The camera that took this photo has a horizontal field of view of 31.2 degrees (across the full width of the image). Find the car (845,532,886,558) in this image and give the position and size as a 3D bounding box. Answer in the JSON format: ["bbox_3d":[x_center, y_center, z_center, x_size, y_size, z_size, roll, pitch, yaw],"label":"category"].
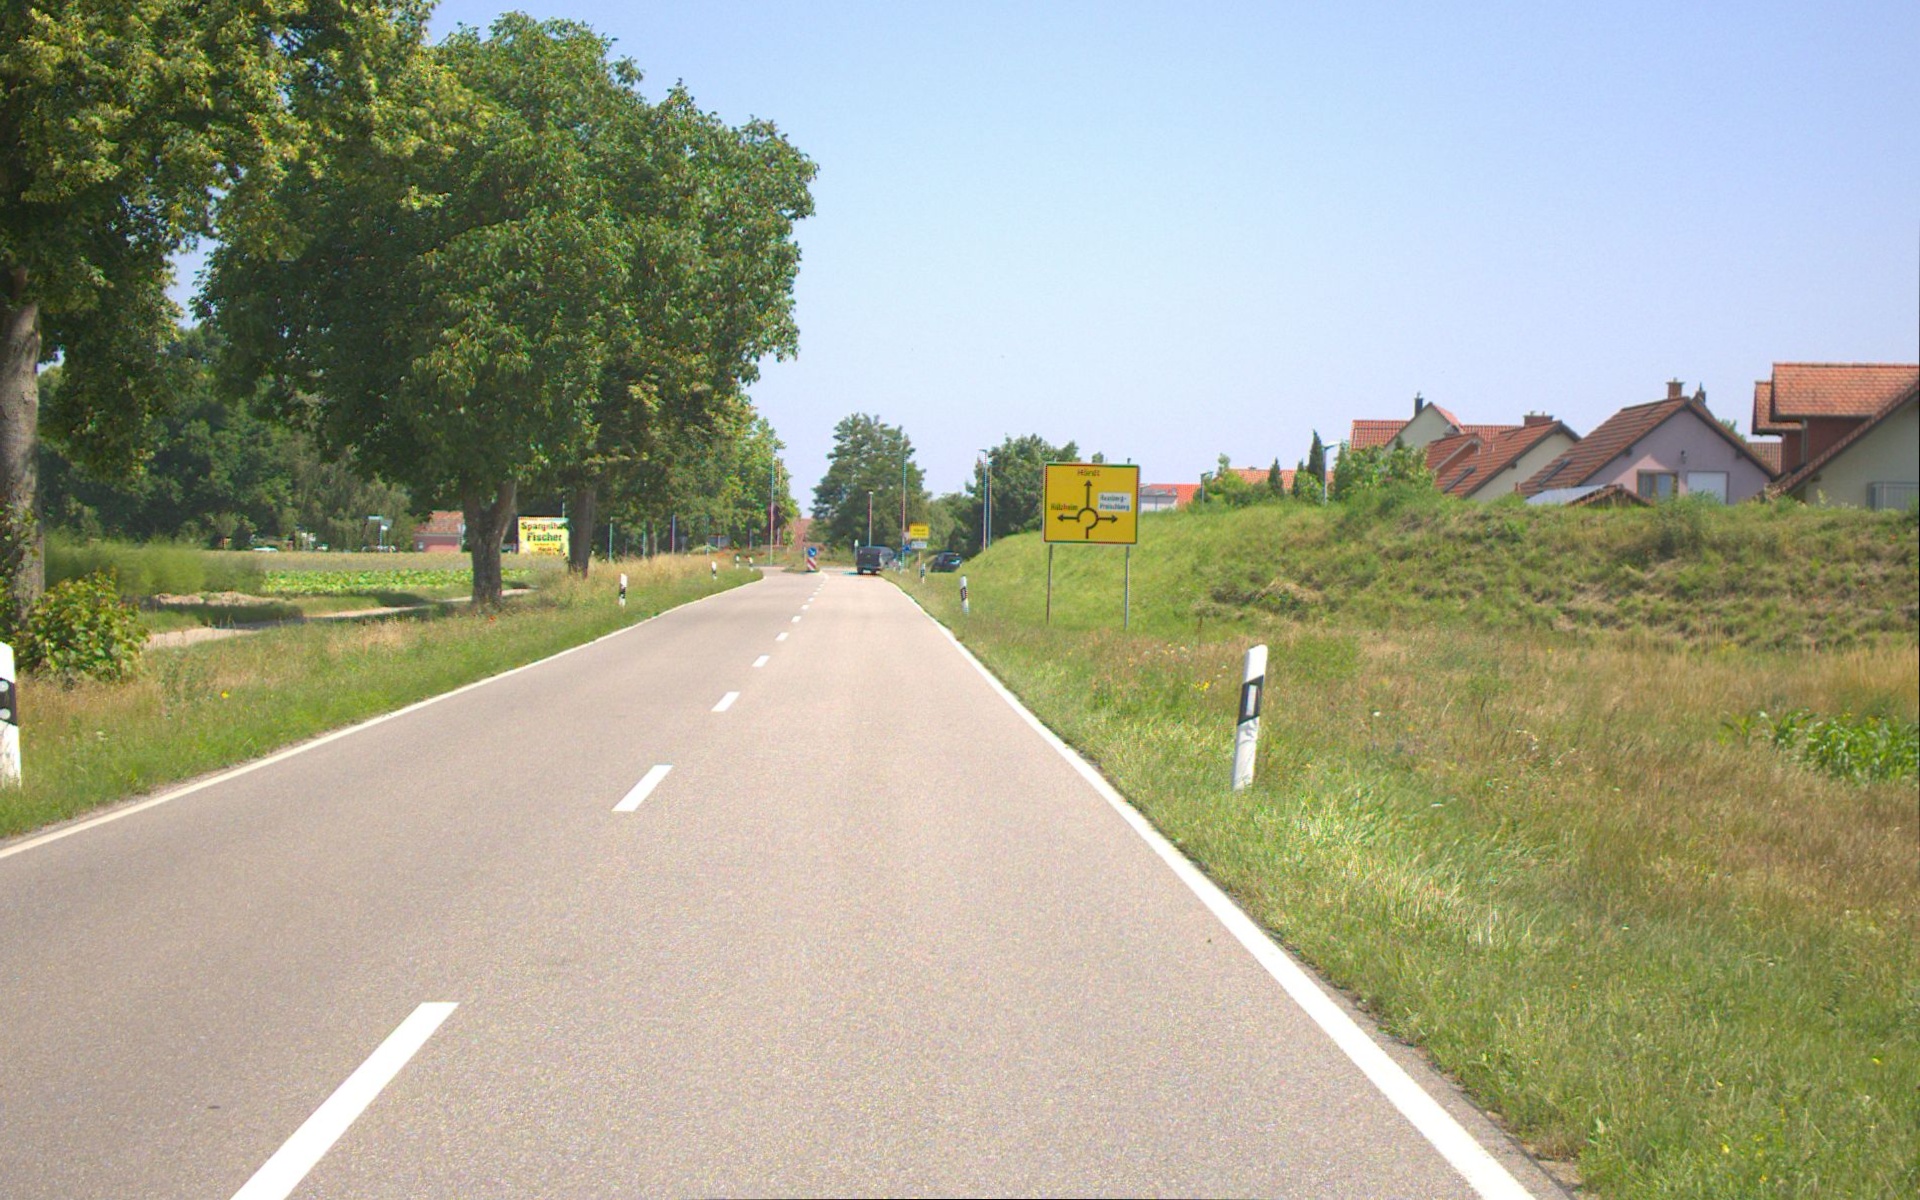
[{"bbox_3d":[-5.833,-3.390,211.879,1.839,1.531,3.609,1,1,9],"label":"car"}]
